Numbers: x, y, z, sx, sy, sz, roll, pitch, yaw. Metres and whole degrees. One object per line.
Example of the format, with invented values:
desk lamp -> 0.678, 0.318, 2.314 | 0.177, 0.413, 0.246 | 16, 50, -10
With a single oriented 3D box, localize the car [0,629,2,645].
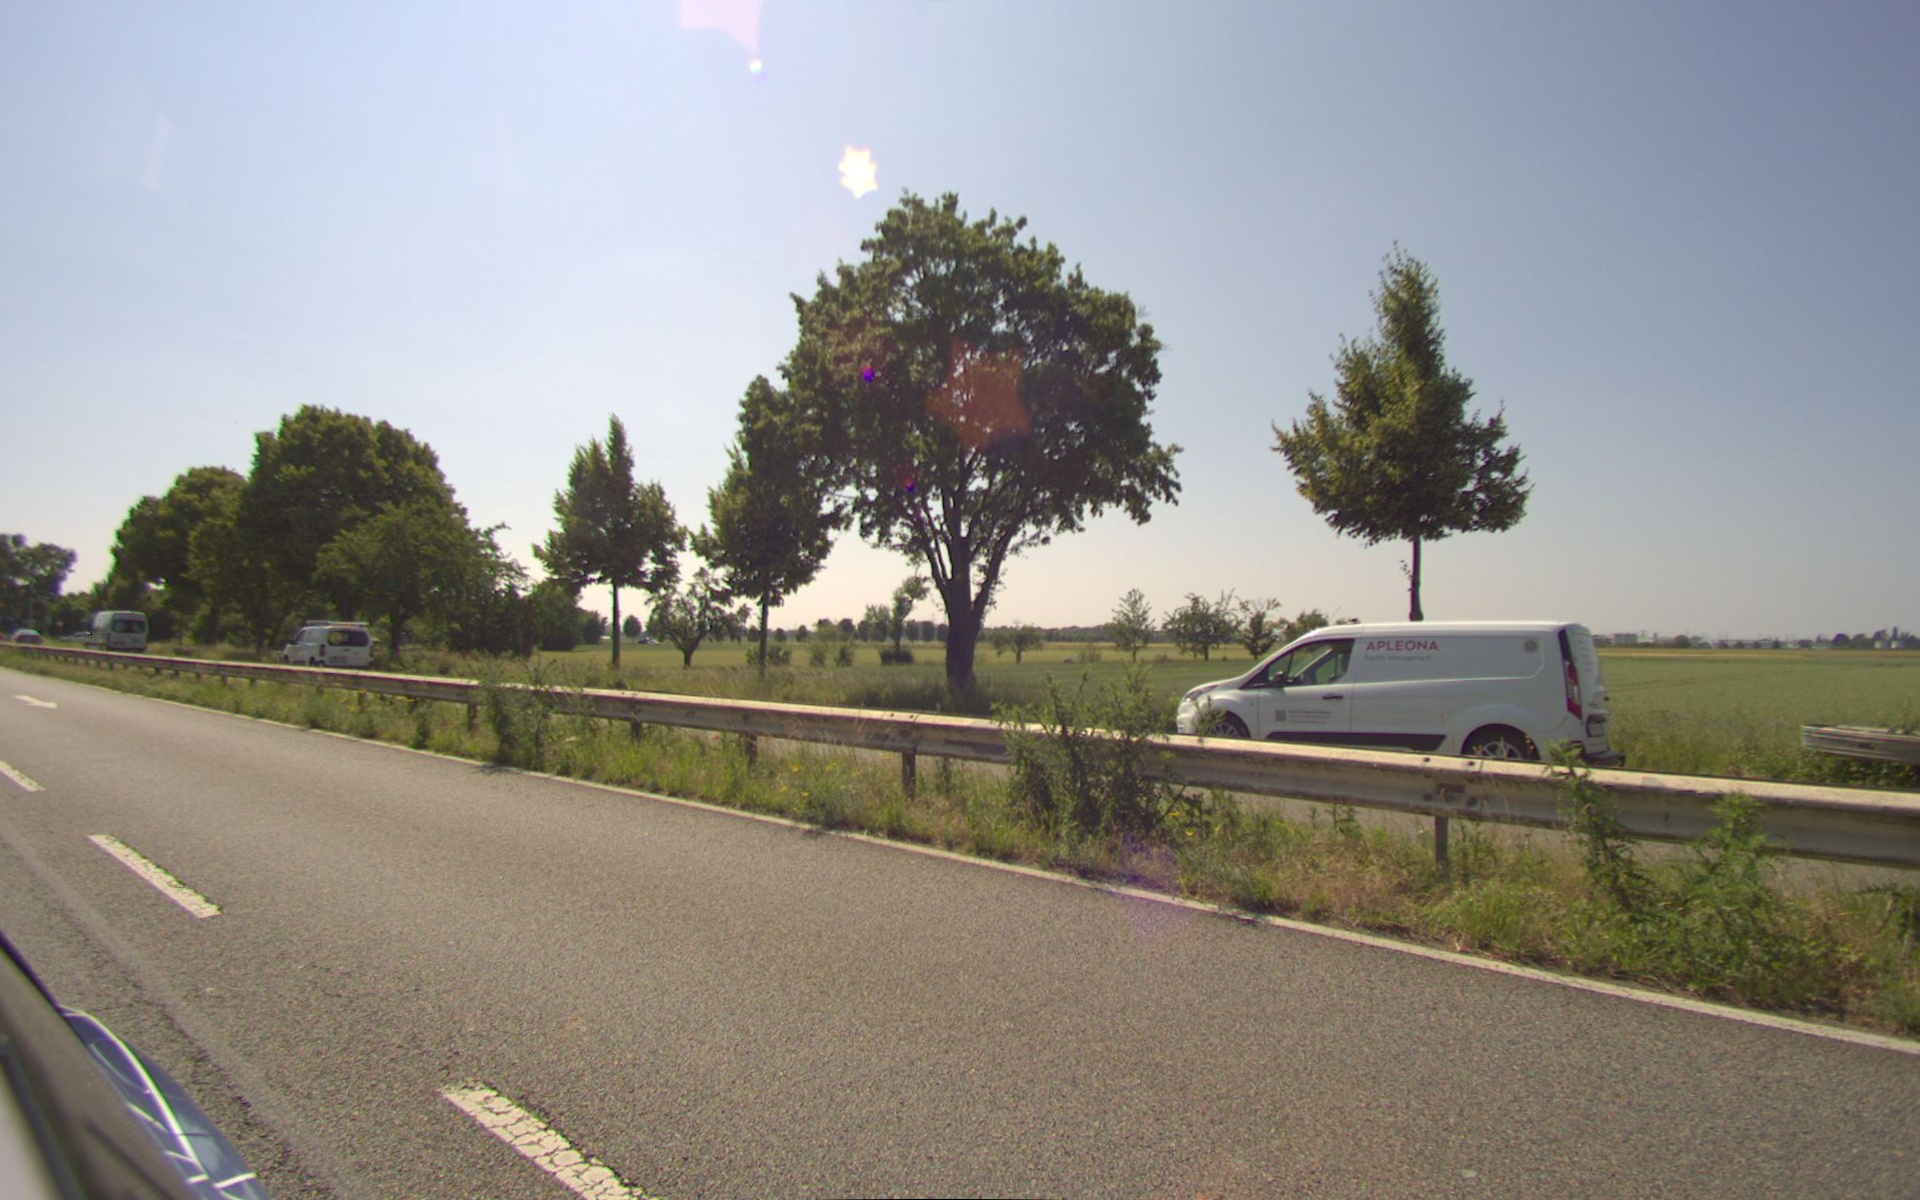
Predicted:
car -> -103.168, 3.911, 107.406 | 3.891, 1.603, 1.742 | -1, -3, 40

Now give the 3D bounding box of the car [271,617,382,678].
car -> -22.443, 1.649, 35.789 | 4.529, 2.029, 2.017 | -1, -3, 40

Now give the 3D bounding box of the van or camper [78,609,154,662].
van or camper -> -50.836, 2.144, 60.919 | 7.087, 2.971, 2.360 | -2, -3, 41

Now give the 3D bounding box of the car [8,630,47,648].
car -> -82.791, 3.446, 89.860 | 4.861, 1.603, 1.935 | -2, -3, 40

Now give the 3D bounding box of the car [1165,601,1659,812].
car -> 5.078, 1.068, 11.843 | 4.923, 1.975, 1.973 | -2, -2, 40
